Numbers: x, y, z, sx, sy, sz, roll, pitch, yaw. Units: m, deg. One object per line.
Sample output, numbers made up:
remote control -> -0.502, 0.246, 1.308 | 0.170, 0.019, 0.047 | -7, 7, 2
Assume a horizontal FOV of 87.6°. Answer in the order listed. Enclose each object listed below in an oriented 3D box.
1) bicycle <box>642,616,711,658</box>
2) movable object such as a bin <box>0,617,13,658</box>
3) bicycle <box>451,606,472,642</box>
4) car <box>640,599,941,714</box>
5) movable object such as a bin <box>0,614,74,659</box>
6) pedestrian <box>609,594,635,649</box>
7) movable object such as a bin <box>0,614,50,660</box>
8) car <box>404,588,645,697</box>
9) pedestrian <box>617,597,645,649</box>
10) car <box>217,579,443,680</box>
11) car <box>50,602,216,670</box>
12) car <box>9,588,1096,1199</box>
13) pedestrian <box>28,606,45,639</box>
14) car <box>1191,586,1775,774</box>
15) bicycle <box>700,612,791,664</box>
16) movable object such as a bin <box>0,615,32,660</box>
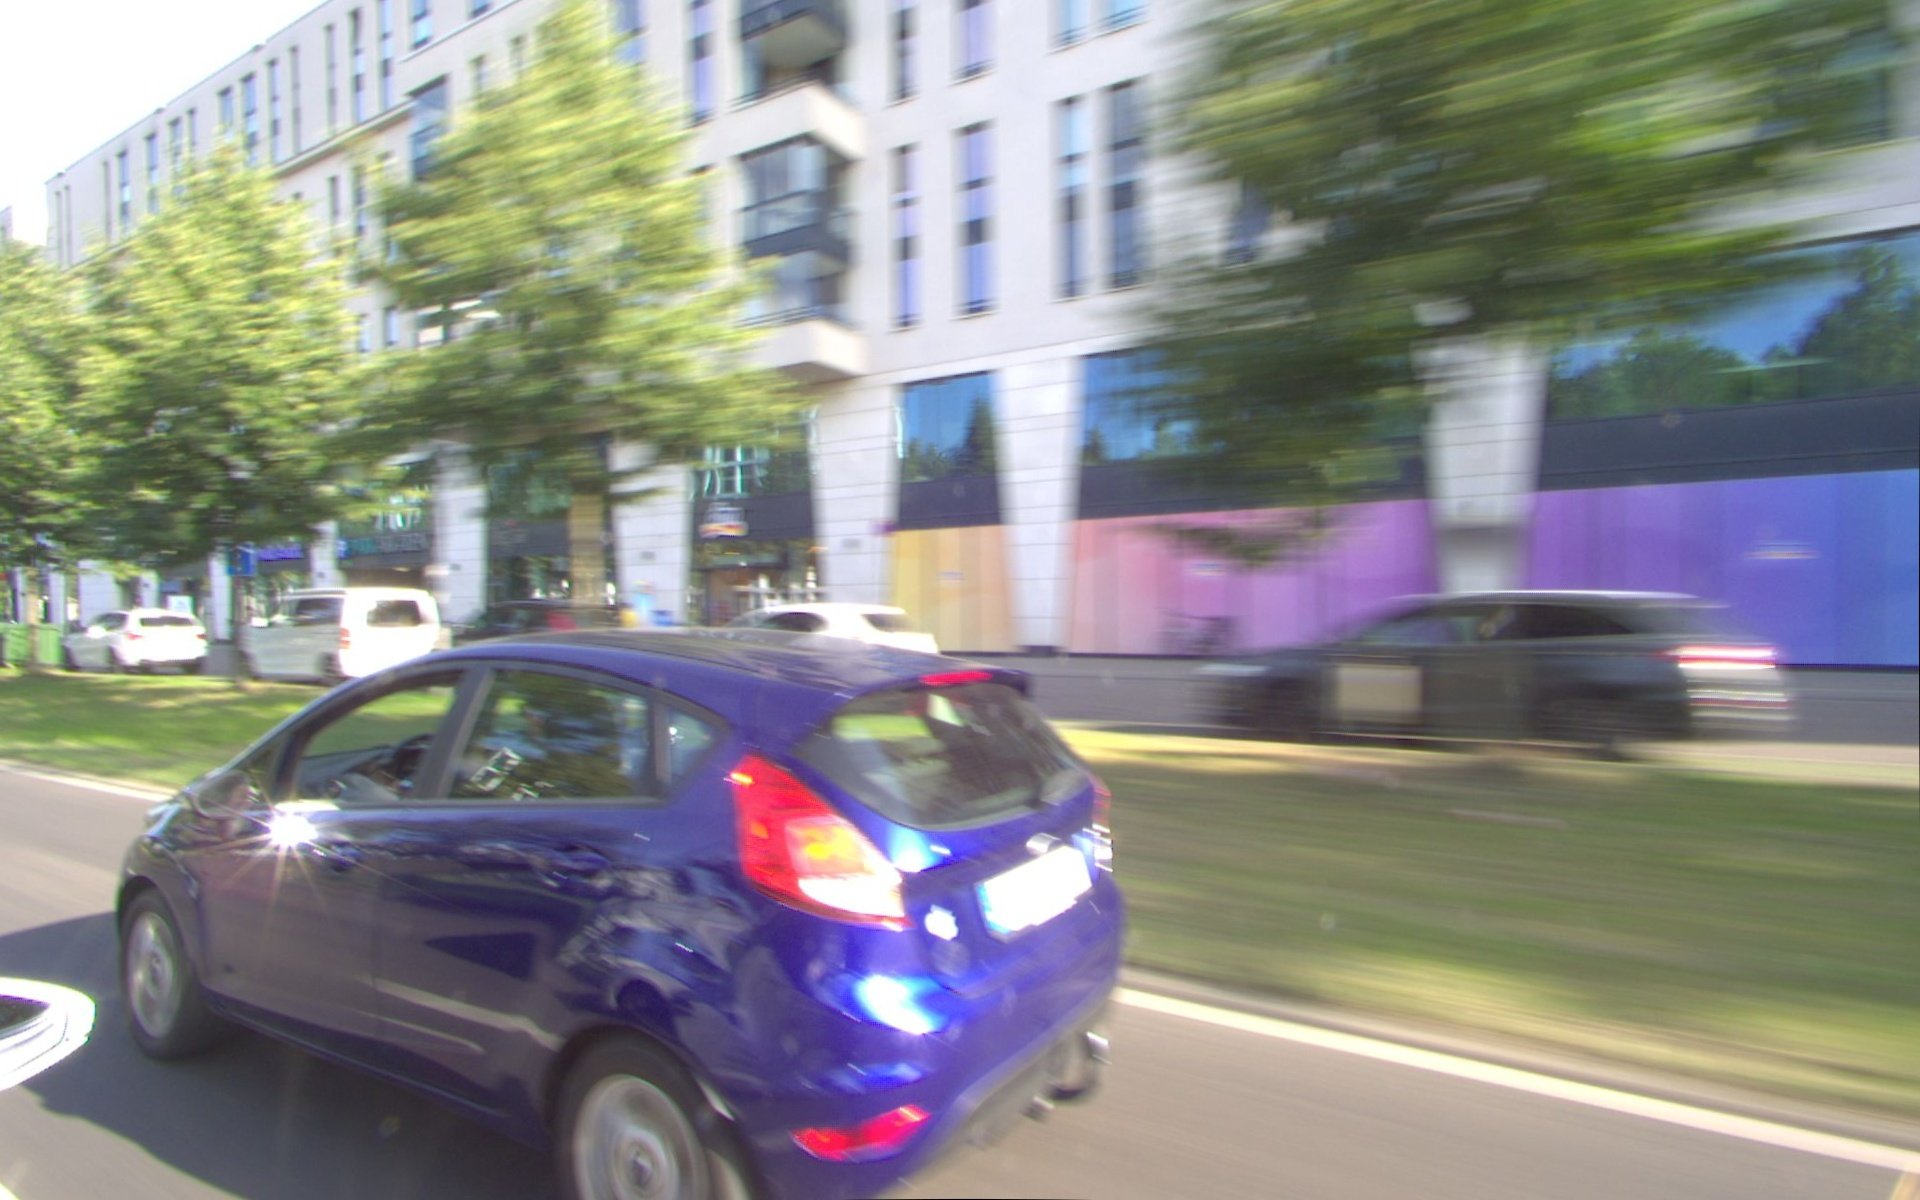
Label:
bicycle -> -7.255, 0.936, 25.601 | 2.015, 1.014, 0.417 | -1, 3, 32
movable object such as a bin -> -30.202, 1.160, 30.778 | 1.173, 1.252, 1.277 | -1, -2, 28
bicycle -> -15.602, 0.758, 31.349 | 0.342, 1.088, 1.511 | 0, -2, -17
car -> -2.442, 0.767, 14.140 | 4.105, 1.430, 1.615 | -1, -2, 29
movable object such as a bin -> -26.546, 1.039, 28.770 | 1.383, 1.252, 1.328 | 1, -2, -31
pedestrian -> -9.896, 0.646, 29.347 | 0.530, 1.594, 0.515 | 0, -1, 12
movable object such as a bin -> -27.859, 1.094, 29.465 | 1.173, 1.318, 1.277 | -1, -2, 28
car -> -7.566, 0.730, 17.278 | 4.278, 1.671, 1.725 | -1, -2, 33
pedestrian -> -9.844, 0.688, 29.968 | 0.586, 1.541, 0.515 | 0, -1, 14
car -> -13.196, 0.629, 20.909 | 4.955, 1.900, 1.836 | -1, -2, 29
car -> -21.723, 0.893, 26.268 | 4.776, 1.651, 1.728 | -1, 0, 29
car -> -1.606, 0.764, 3.509 | 3.851, 1.442, 1.558 | -1, -2, 32
pedestrian -> -50.377, 1.256, 54.631 | 0.637, 1.785, 0.536 | -1, -1, 32
car -> 4.783, 0.691, 9.720 | 4.656, 1.450, 1.725 | -1, -2, 33
bicycle -> -5.245, 0.913, 24.526 | 2.074, 1.115, 0.419 | -4, 3, -23
movable object such as a bin -> -29.007, 1.118, 30.129 | 1.173, 1.334, 1.277 | -1, -2, 28
